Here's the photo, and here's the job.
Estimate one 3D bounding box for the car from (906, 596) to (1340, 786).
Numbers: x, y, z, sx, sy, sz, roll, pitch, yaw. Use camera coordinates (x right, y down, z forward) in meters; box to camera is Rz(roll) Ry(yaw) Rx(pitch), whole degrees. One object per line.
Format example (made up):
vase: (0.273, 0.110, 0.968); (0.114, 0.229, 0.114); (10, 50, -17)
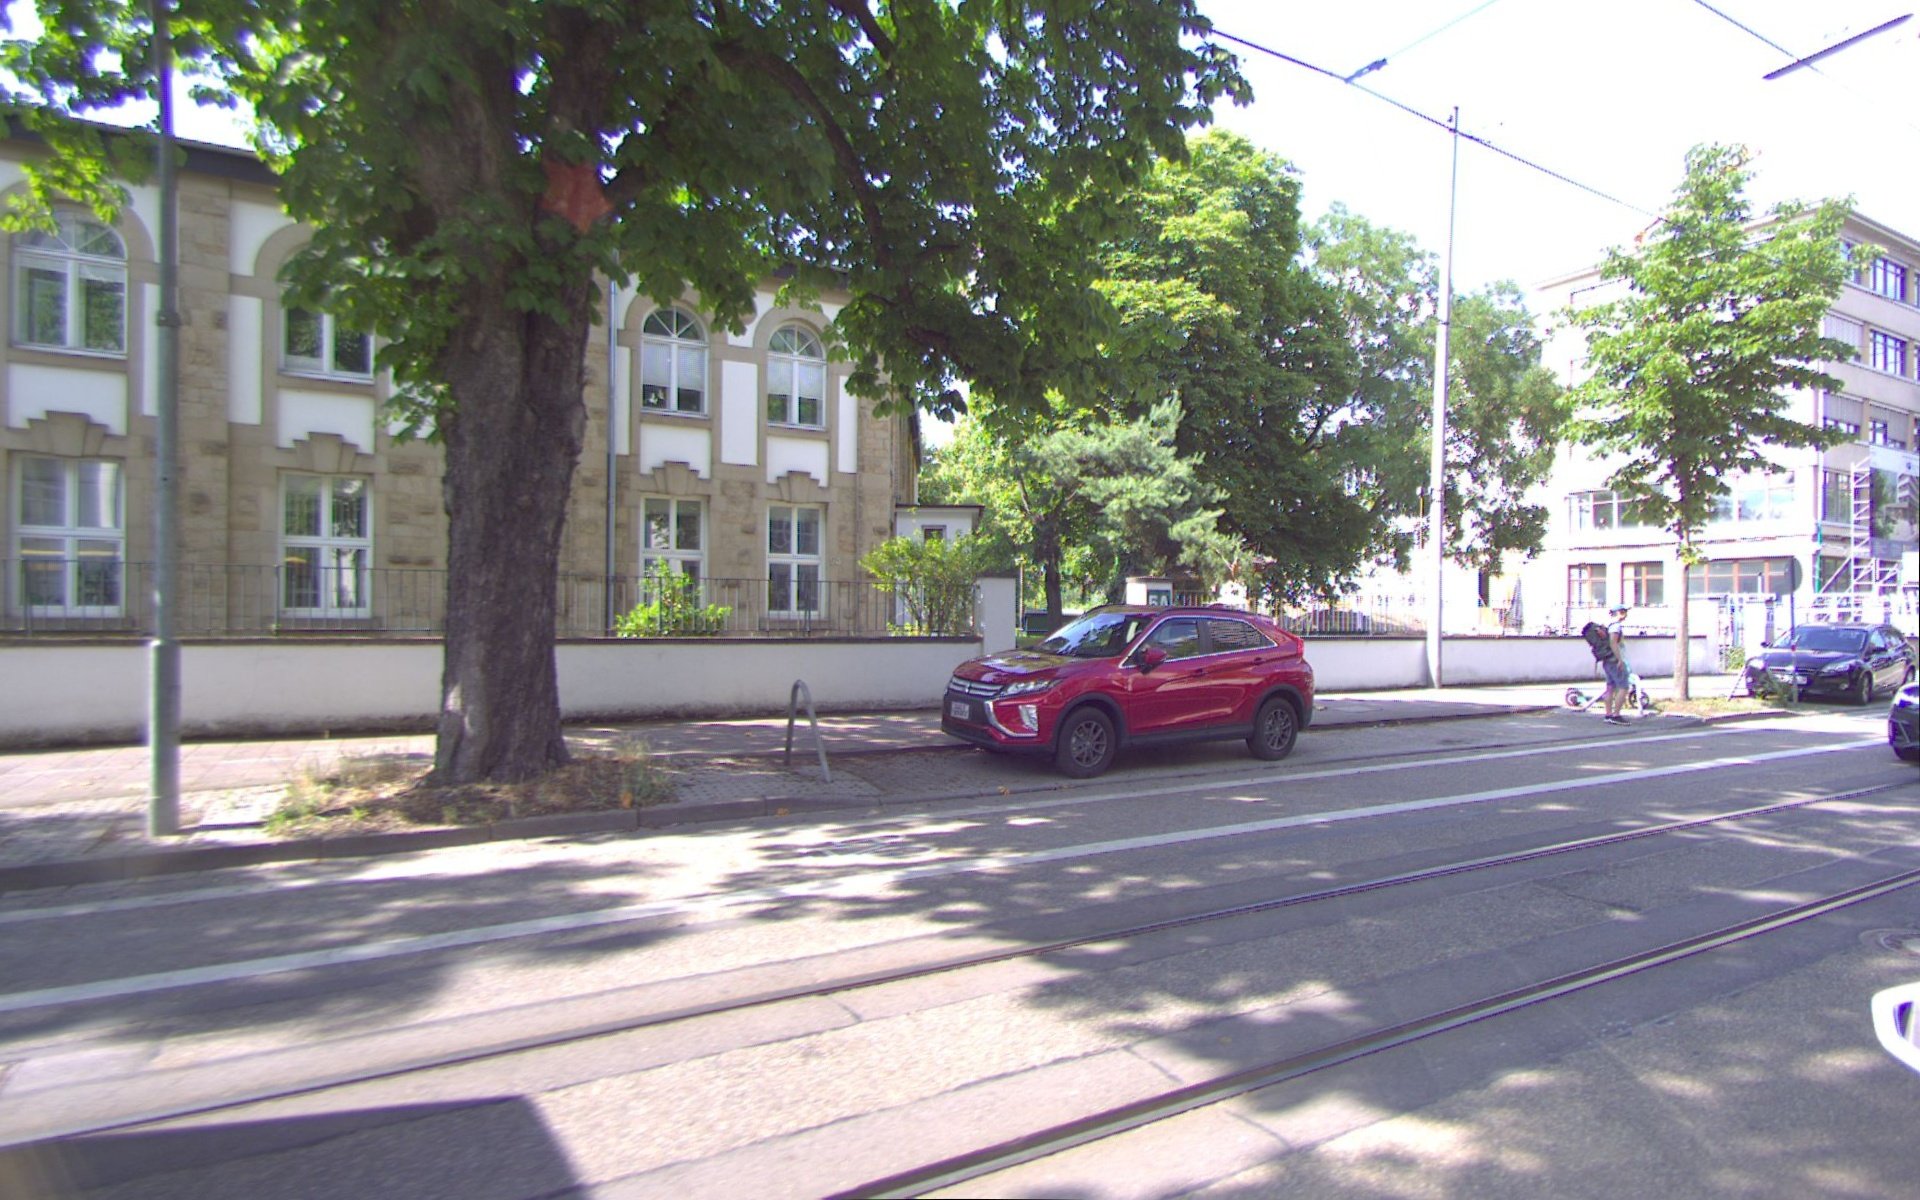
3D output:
car: (1.880, 0.861, 11.018); (4.666, 1.687, 1.741); (1, 1, -31)

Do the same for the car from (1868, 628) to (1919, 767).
car: (11.842, 1.010, 10.844); (4.373, 1.406, 1.791); (1, -1, -30)

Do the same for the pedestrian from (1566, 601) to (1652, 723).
pedestrian: (9.851, 0.922, 15.257); (0.779, 1.790, 0.749); (1, 1, -22)

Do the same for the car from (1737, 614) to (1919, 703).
car: (17.430, 1.102, 19.931); (4.542, 1.536, 1.739); (1, 1, -33)

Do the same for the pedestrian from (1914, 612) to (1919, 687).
pedestrian: (21.554, 1.101, 22.024); (0.714, 1.659, 0.691); (2, 1, 27)

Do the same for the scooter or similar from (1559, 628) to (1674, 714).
scooter or similar: (10.803, 1.136, 16.559); (0.845, 1.297, 1.332); (1, 1, -30)
